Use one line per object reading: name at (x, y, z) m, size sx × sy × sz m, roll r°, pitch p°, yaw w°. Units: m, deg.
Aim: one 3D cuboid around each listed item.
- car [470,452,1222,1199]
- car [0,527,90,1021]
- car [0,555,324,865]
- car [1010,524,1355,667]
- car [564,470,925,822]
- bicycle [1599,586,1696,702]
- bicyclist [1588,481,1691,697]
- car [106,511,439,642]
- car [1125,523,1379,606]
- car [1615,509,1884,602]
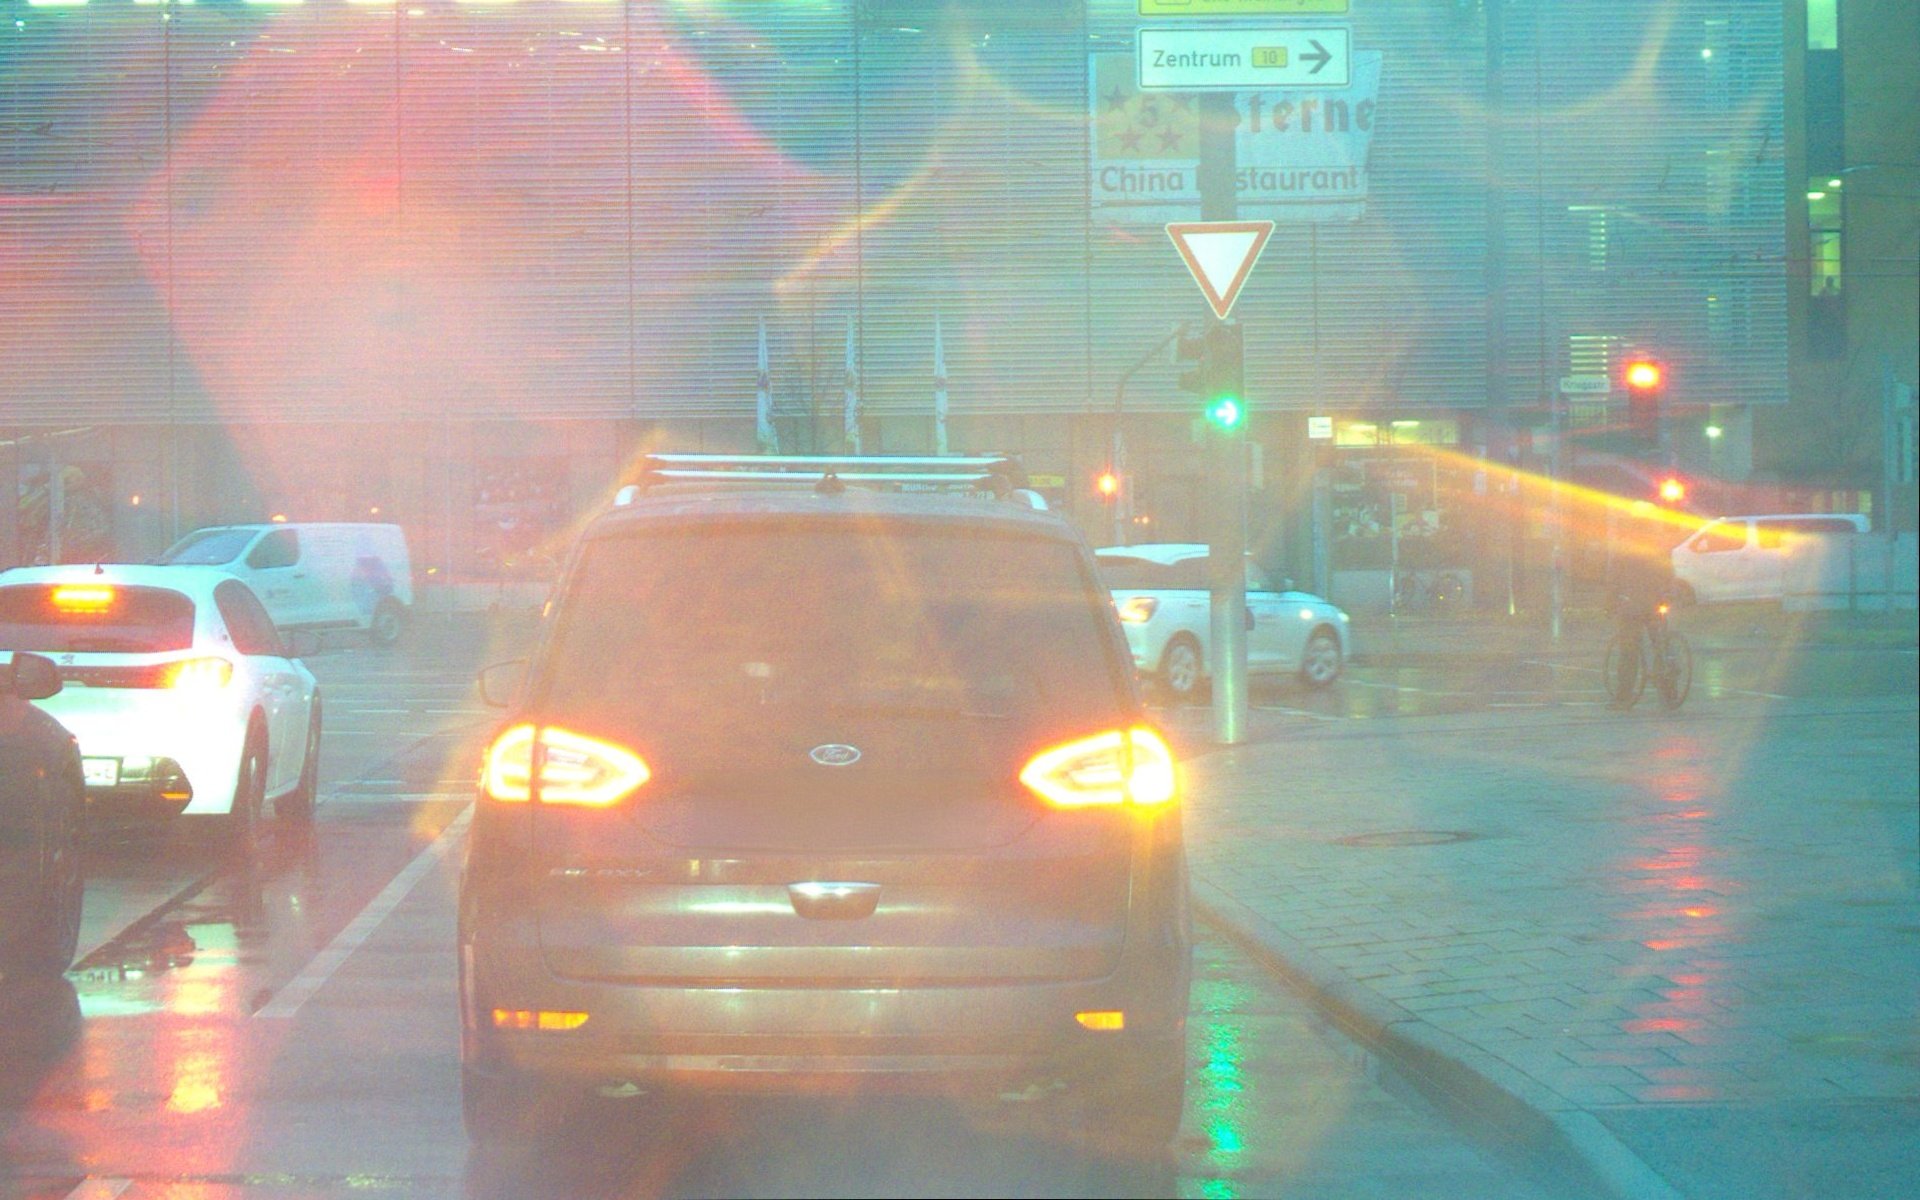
car at (-0.278, 0.539, 9.826) m, size 1.674 × 1.773 × 4.000 m, roll 1°, pitch 1°, yaw -1°
car at (-3.930, 0.566, 10.545) m, size 1.820 × 1.565 × 4.363 m, roll -1°, pitch 1°, yaw -6°
car at (-4.436, 0.493, 18.203) m, size 1.758 × 1.458 × 3.918 m, roll 0°, pitch 1°, yaw -5°
car at (2.289, -0.073, 34.571) m, size 1.643 × 1.356 × 3.725 m, roll 0°, pitch 1°, yaw 38°
car at (-1.263, 0.194, 19.977) m, size 1.843 × 1.800 × 4.487 m, roll -1°, pitch 1°, yaw -4°
bicycle at (6.111, 0.376, 30.625) m, size 0.655 × 0.970 × 1.866 m, roll -1°, pitch 1°, yaw 6°
bicyclist at (6.033, -0.102, 30.560) m, size 0.791 × 1.884 × 0.989 m, roll -1°, pitch 1°, yaw 6°
car at (-10.261, -0.387, 51.693) m, size 1.902 × 1.865 × 4.953 m, roll 0°, pitch 1°, yaw 35°
car at (5.428, -0.671, 64.138) m, size 4.326 × 1.481 × 1.867 m, roll -1°, pitch 1°, yaw -15°
car at (14.938, -0.844, 65.147) m, size 4.636 × 1.671 × 1.787 m, roll -1°, pitch 1°, yaw -5°
